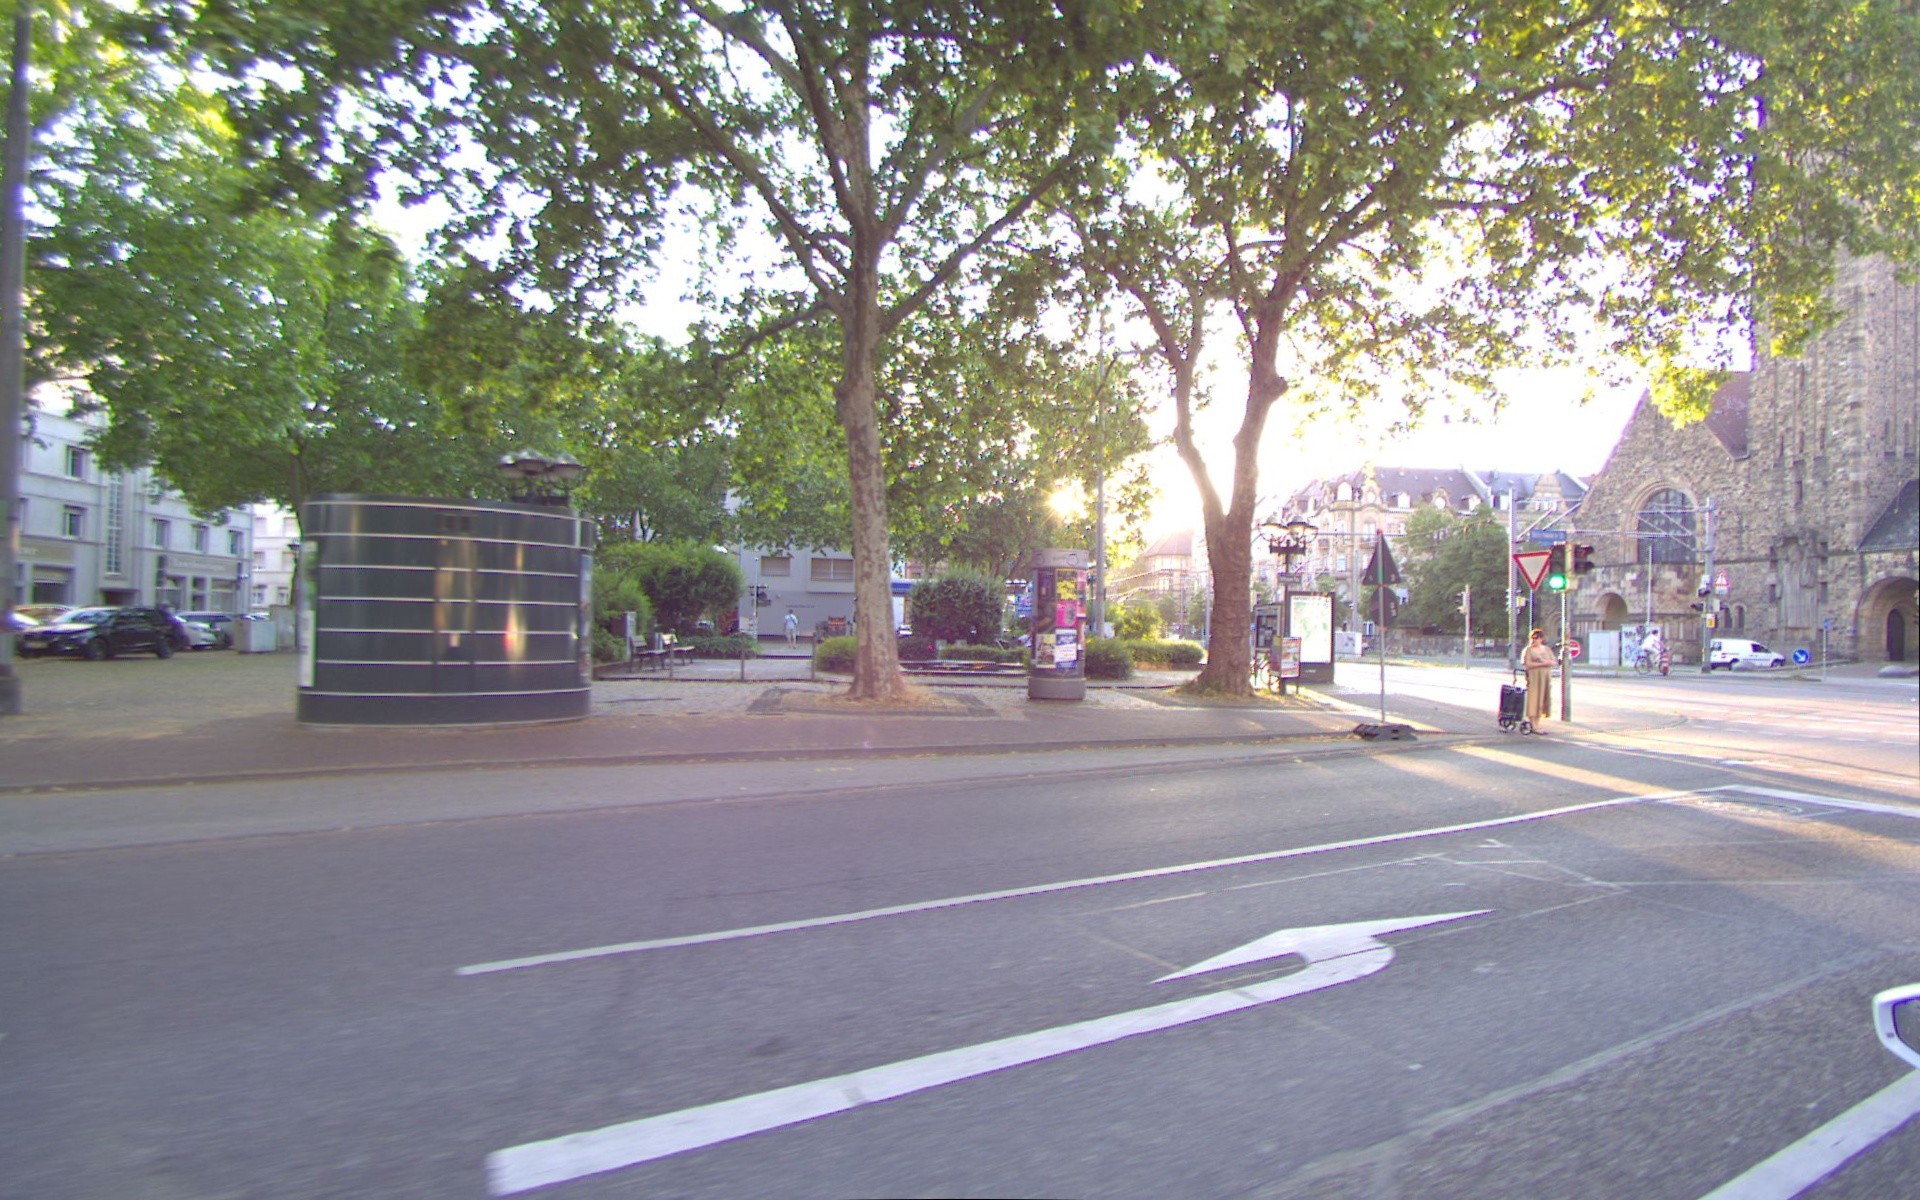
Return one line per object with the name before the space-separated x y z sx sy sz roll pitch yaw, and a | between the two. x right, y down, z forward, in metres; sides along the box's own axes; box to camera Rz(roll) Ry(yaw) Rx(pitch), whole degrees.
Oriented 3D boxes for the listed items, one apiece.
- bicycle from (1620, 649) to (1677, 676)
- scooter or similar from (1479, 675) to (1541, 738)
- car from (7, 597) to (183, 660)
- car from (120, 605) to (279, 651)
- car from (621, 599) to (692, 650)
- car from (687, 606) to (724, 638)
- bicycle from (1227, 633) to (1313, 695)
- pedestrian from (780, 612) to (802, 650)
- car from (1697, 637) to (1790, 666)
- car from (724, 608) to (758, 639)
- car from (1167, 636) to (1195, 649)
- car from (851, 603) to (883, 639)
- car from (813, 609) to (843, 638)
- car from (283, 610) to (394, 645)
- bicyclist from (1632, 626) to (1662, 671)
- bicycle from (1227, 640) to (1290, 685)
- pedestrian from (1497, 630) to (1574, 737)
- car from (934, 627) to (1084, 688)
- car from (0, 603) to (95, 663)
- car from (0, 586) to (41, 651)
bicycle | 28.700 2.611 41.864 2.207 1.092 0.657 1 1 -14
scooter or similar | 8.662 1.661 15.814 0.845 0.909 0.586 3 -1 -40
car | -23.554 0.801 27.553 1.642 1.549 3.761 2 -2 -3
car | -29.871 1.106 39.612 4.556 1.758 1.997 0 -2 -9
car | -11.481 0.972 38.237 1.964 1.805 4.495 0 -2 -9
car | -17.429 1.488 68.953 1.963 2.040 3.995 2 -1 -8
bicycle | 6.964 1.442 22.521 1.967 1.344 0.524 3 -1 -25
pedestrian | -7.543 1.379 44.918 0.869 1.694 0.740 2 -1 -7
car | 46.782 3.073 59.983 4.372 1.537 1.718 2 -1 -6
car | -15.114 1.586 69.475 1.963 2.040 3.995 2 -1 -8
car | 28.192 5.375 128.462 1.966 1.639 3.990 0 -2 -14
car | -6.496 1.451 69.922 1.963 2.374 3.995 2 -1 -7
car | -9.135 1.629 69.689 1.882 1.873 3.995 2 -1 -7
car | -32.207 1.410 52.216 4.572 1.758 1.990 0 -2 -22
bicyclist | 28.607 1.998 41.840 0.844 1.851 0.657 0 0 -13
bicycle | 7.592 1.596 25.544 1.779 1.107 0.455 3 -1 -32
pedestrian | 9.340 1.341 16.318 0.766 1.649 0.796 3 -1 -34
car | 1.490 1.807 31.977 4.552 1.805 1.999 0 -2 -5
car | -29.432 1.013 30.351 4.556 1.758 1.997 0 -2 -9
car | -28.783 0.543 27.771 4.556 1.805 1.997 0 -2 -9
